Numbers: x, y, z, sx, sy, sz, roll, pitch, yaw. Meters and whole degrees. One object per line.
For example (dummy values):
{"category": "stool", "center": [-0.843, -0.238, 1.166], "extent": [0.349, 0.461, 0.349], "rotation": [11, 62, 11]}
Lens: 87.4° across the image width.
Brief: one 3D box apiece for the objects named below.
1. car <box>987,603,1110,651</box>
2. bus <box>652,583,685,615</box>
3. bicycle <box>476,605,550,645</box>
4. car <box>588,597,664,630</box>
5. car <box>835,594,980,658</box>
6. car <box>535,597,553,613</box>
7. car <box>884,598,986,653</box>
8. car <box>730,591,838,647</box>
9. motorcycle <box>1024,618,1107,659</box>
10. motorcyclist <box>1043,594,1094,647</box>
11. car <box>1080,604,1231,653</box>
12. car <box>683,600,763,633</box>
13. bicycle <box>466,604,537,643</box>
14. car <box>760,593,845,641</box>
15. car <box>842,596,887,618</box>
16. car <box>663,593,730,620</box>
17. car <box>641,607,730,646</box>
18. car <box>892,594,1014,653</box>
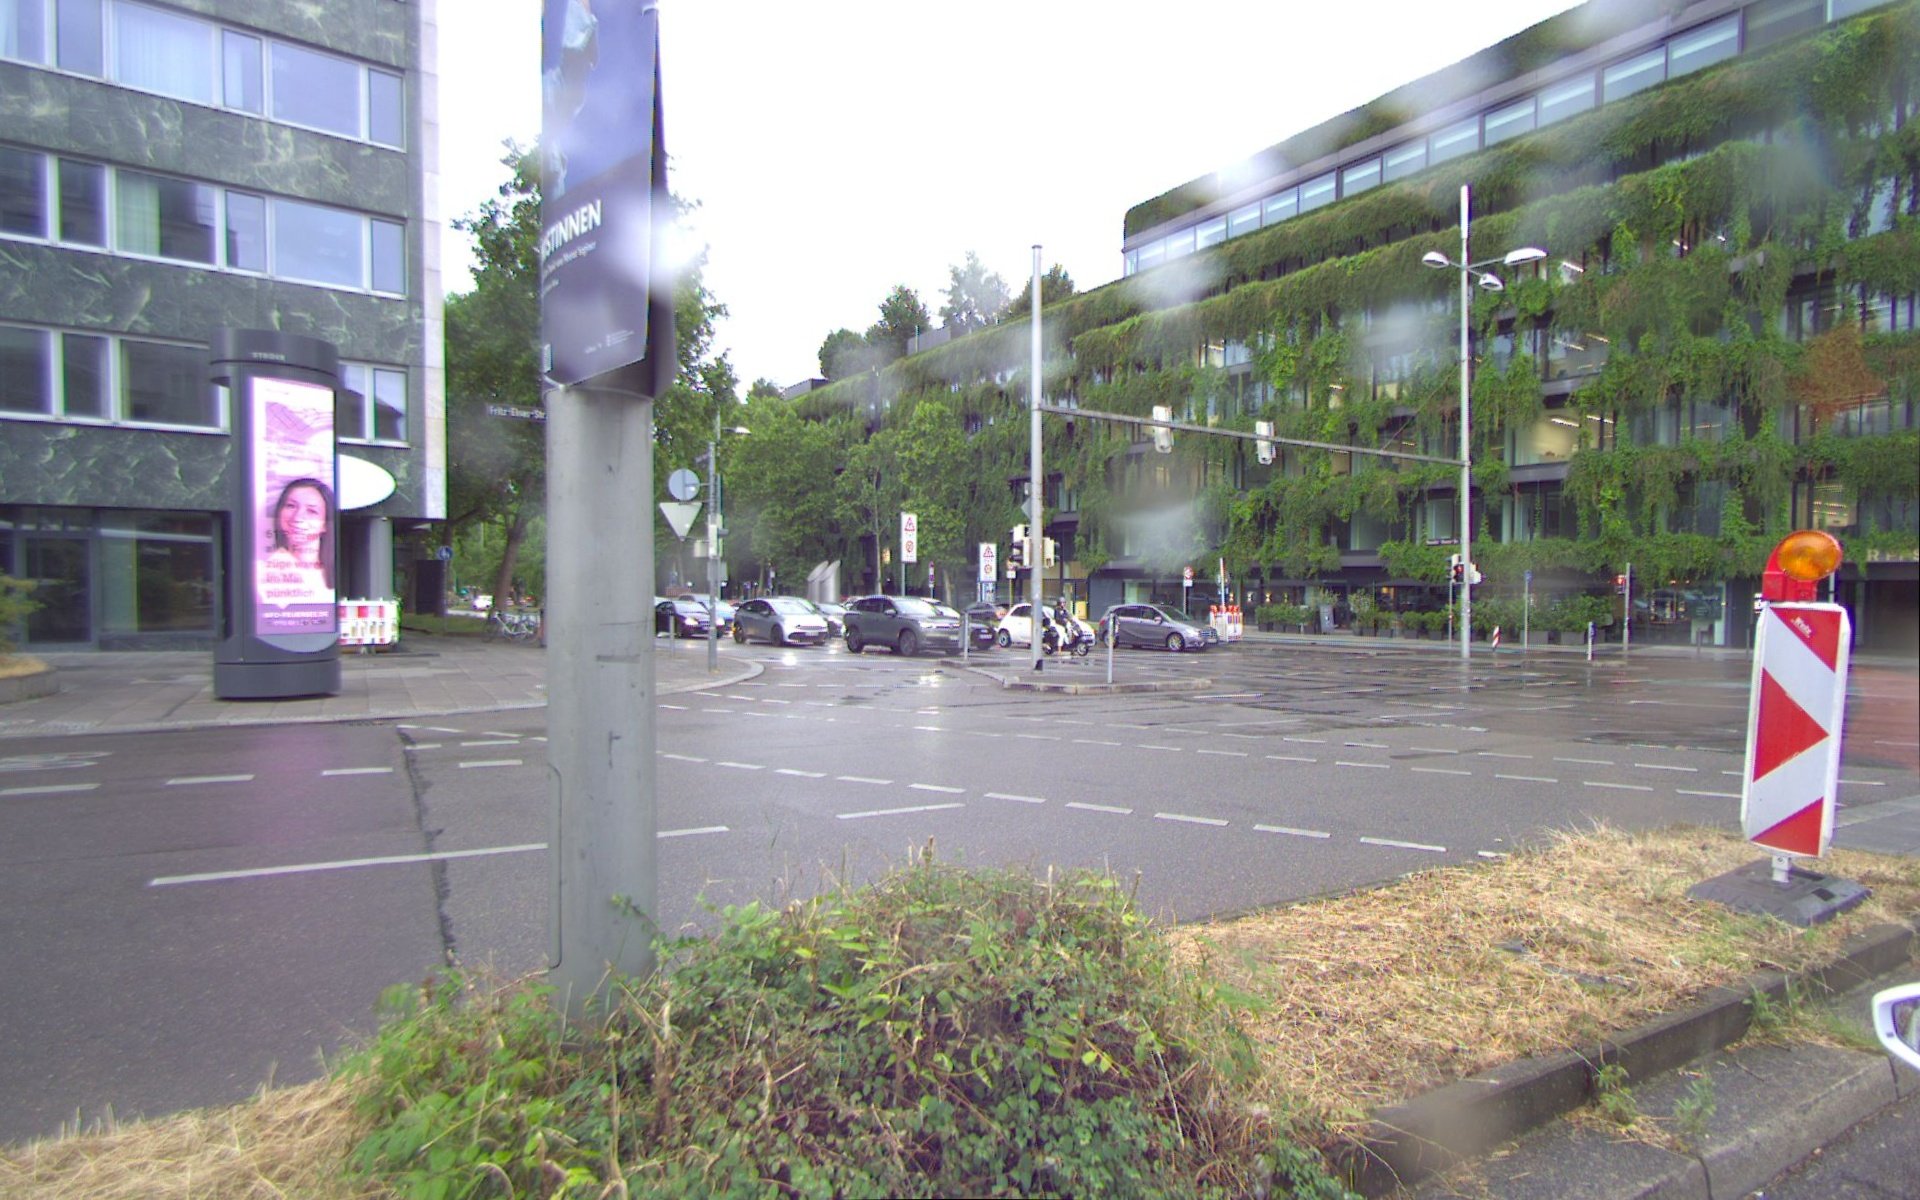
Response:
{"category": "car", "center": [2.883, 0.858, 33.473], "extent": [1.981, 1.495, 3.958], "rotation": [1, 0, -37]}
{"category": "bus", "center": [-32.012, -0.150, 110.239], "extent": [1.783, 3.385, 5.922], "rotation": [2, 0, -34]}
{"category": "bicycle", "center": [-12.287, 0.680, 27.641], "extent": [1.765, 1.066, 0.581], "rotation": [1, 0, -35]}
{"category": "car", "center": [-15.025, 0.568, 45.042], "extent": [1.982, 1.389, 4.131], "rotation": [1, 0, -37]}
{"category": "car", "center": [-1.604, 0.703, 29.177], "extent": [1.984, 1.709, 4.314], "rotation": [1, 0, -41]}
{"category": "car", "center": [-57.197, 0.648, 138.162], "extent": [1.975, 2.040, 3.972], "rotation": [2, 0, -27]}
{"category": "car", "center": [-1.000, 0.914, 37.771], "extent": [1.978, 1.923, 4.139], "rotation": [1, 0, -33]}
{"category": "car", "center": [-6.007, 0.618, 34.042], "extent": [1.982, 1.773, 3.956], "rotation": [1, 0, -38]}
{"category": "motorcycle", "center": [3.032, 1.088, 29.088], "extent": [2.331, 1.068, 0.830], "rotation": [2, 0, 41]}
{"category": "motorcyclist", "center": [3.130, 0.582, 29.012], "extent": [1.153, 1.492, 0.832], "rotation": [2, 0, 40]}
{"category": "car", "center": [6.629, 0.935, 34.417], "extent": [4.842, 1.508, 1.922], "rotation": [1, 0, 45]}
{"category": "car", "center": [-10.665, 0.700, 45.029], "extent": [1.982, 1.389, 4.131], "rotation": [1, 0, -37]}
{"category": "bicycle", "center": [-12.966, 0.665, 28.418], "extent": [1.765, 1.066, 0.581], "rotation": [1, 0, -35]}
{"category": "car", "center": [-6.281, 0.653, 39.676], "extent": [1.841, 1.791, 4.139], "rotation": [1, 0, -32]}
{"category": "car", "center": [-7.358, 0.492, 77.253], "extent": [1.783, 1.588, 3.962], "rotation": [2, 0, -34]}
{"category": "car", "center": [-13.919, 0.339, 52.931], "extent": [1.982, 1.389, 4.131], "rotation": [1, 0, -37]}
{"category": "car", "center": [-10.891, 1.005, 39.631], "extent": [1.982, 1.389, 4.131], "rotation": [1, 0, -37]}
{"category": "car", "center": [-0.288, 0.711, 32.427], "extent": [1.981, 1.773, 3.958], "rotation": [1, 0, -37]}
